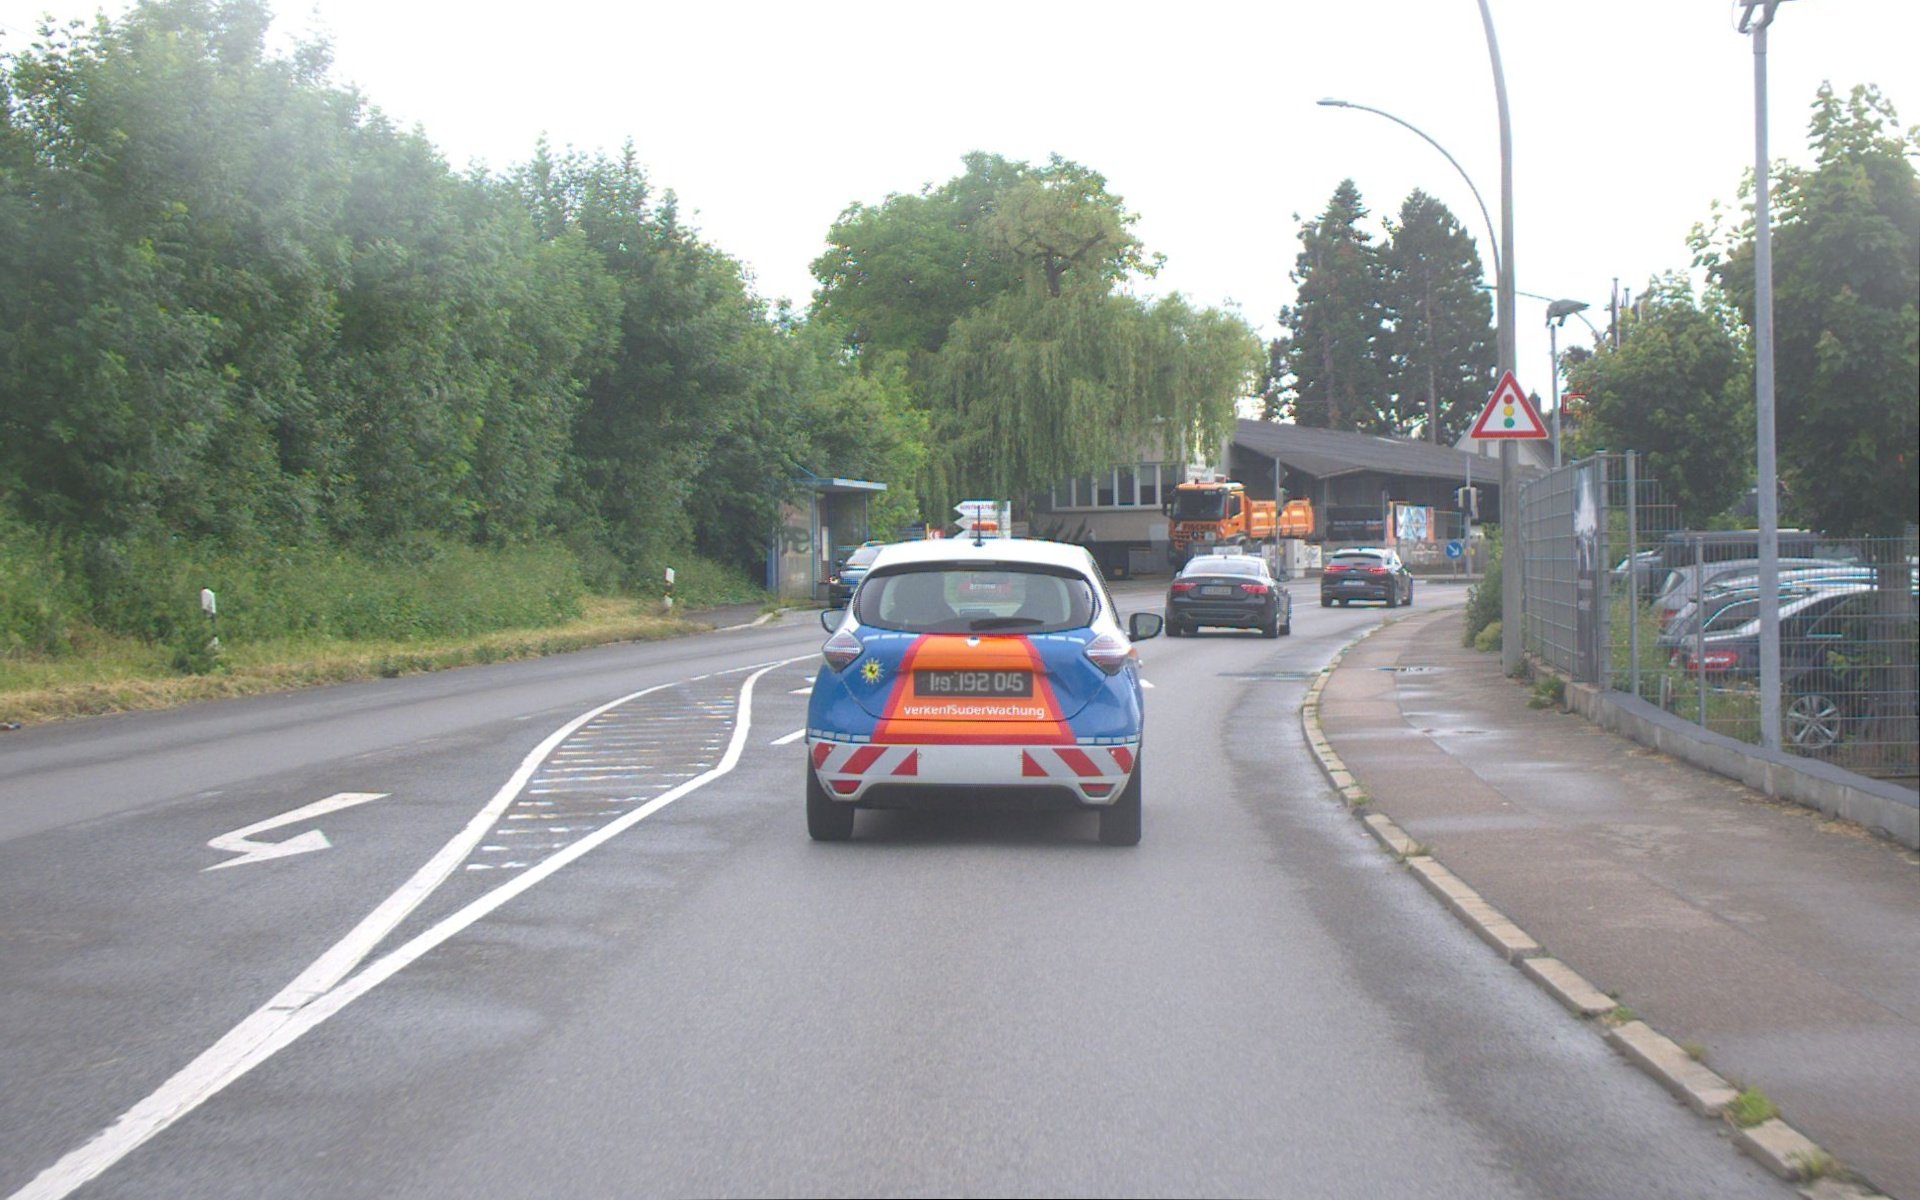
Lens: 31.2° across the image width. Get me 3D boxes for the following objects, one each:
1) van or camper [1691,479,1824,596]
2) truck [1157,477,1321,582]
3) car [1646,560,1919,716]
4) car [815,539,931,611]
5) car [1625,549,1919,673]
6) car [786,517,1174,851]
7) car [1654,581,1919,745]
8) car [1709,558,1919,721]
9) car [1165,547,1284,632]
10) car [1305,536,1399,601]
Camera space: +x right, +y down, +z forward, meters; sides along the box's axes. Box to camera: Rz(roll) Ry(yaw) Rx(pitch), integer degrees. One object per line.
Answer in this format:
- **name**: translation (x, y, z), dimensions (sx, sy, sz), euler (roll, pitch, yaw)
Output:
- **van or camper**: translation (18.581, -1.450, 79.832), dimensions (2.043, 2.584, 6.582), euler (0, 1, 21)
- **truck**: translation (10.211, -2.515, 124.806), dimensions (2.701, 3.400, 9.058), euler (2, 0, 26)
- **car**: translation (8.896, 0.395, 33.729), dimensions (3.987, 1.403, 1.593), euler (2, 0, 2)
- **car**: translation (-1.894, -0.537, 76.345), dimensions (1.994, 1.469, 4.699), euler (2, 0, 5)
- **car**: translation (10.427, 0.149, 43.111), dimensions (3.989, 1.399, 1.788), euler (2, 0, 13)
- **car**: translation (0.155, 0.376, 18.749), dimensions (1.888, 1.626, 4.000), euler (0, 1, 2)
- **car**: translation (8.522, 0.598, 31.184), dimensions (4.108, 1.365, 2.000), euler (2, 0, 4)
- **car**: translation (10.080, 0.450, 35.976), dimensions (4.175, 1.593, 1.968), euler (2, 0, 8)
- **car**: translation (4.461, -0.206, 57.651), dimensions (1.721, 1.371, 3.933), euler (0, 1, 8)
- **car**: translation (9.446, -0.751, 82.643), dimensions (1.994, 1.415, 3.998), euler (2, 0, 9)
